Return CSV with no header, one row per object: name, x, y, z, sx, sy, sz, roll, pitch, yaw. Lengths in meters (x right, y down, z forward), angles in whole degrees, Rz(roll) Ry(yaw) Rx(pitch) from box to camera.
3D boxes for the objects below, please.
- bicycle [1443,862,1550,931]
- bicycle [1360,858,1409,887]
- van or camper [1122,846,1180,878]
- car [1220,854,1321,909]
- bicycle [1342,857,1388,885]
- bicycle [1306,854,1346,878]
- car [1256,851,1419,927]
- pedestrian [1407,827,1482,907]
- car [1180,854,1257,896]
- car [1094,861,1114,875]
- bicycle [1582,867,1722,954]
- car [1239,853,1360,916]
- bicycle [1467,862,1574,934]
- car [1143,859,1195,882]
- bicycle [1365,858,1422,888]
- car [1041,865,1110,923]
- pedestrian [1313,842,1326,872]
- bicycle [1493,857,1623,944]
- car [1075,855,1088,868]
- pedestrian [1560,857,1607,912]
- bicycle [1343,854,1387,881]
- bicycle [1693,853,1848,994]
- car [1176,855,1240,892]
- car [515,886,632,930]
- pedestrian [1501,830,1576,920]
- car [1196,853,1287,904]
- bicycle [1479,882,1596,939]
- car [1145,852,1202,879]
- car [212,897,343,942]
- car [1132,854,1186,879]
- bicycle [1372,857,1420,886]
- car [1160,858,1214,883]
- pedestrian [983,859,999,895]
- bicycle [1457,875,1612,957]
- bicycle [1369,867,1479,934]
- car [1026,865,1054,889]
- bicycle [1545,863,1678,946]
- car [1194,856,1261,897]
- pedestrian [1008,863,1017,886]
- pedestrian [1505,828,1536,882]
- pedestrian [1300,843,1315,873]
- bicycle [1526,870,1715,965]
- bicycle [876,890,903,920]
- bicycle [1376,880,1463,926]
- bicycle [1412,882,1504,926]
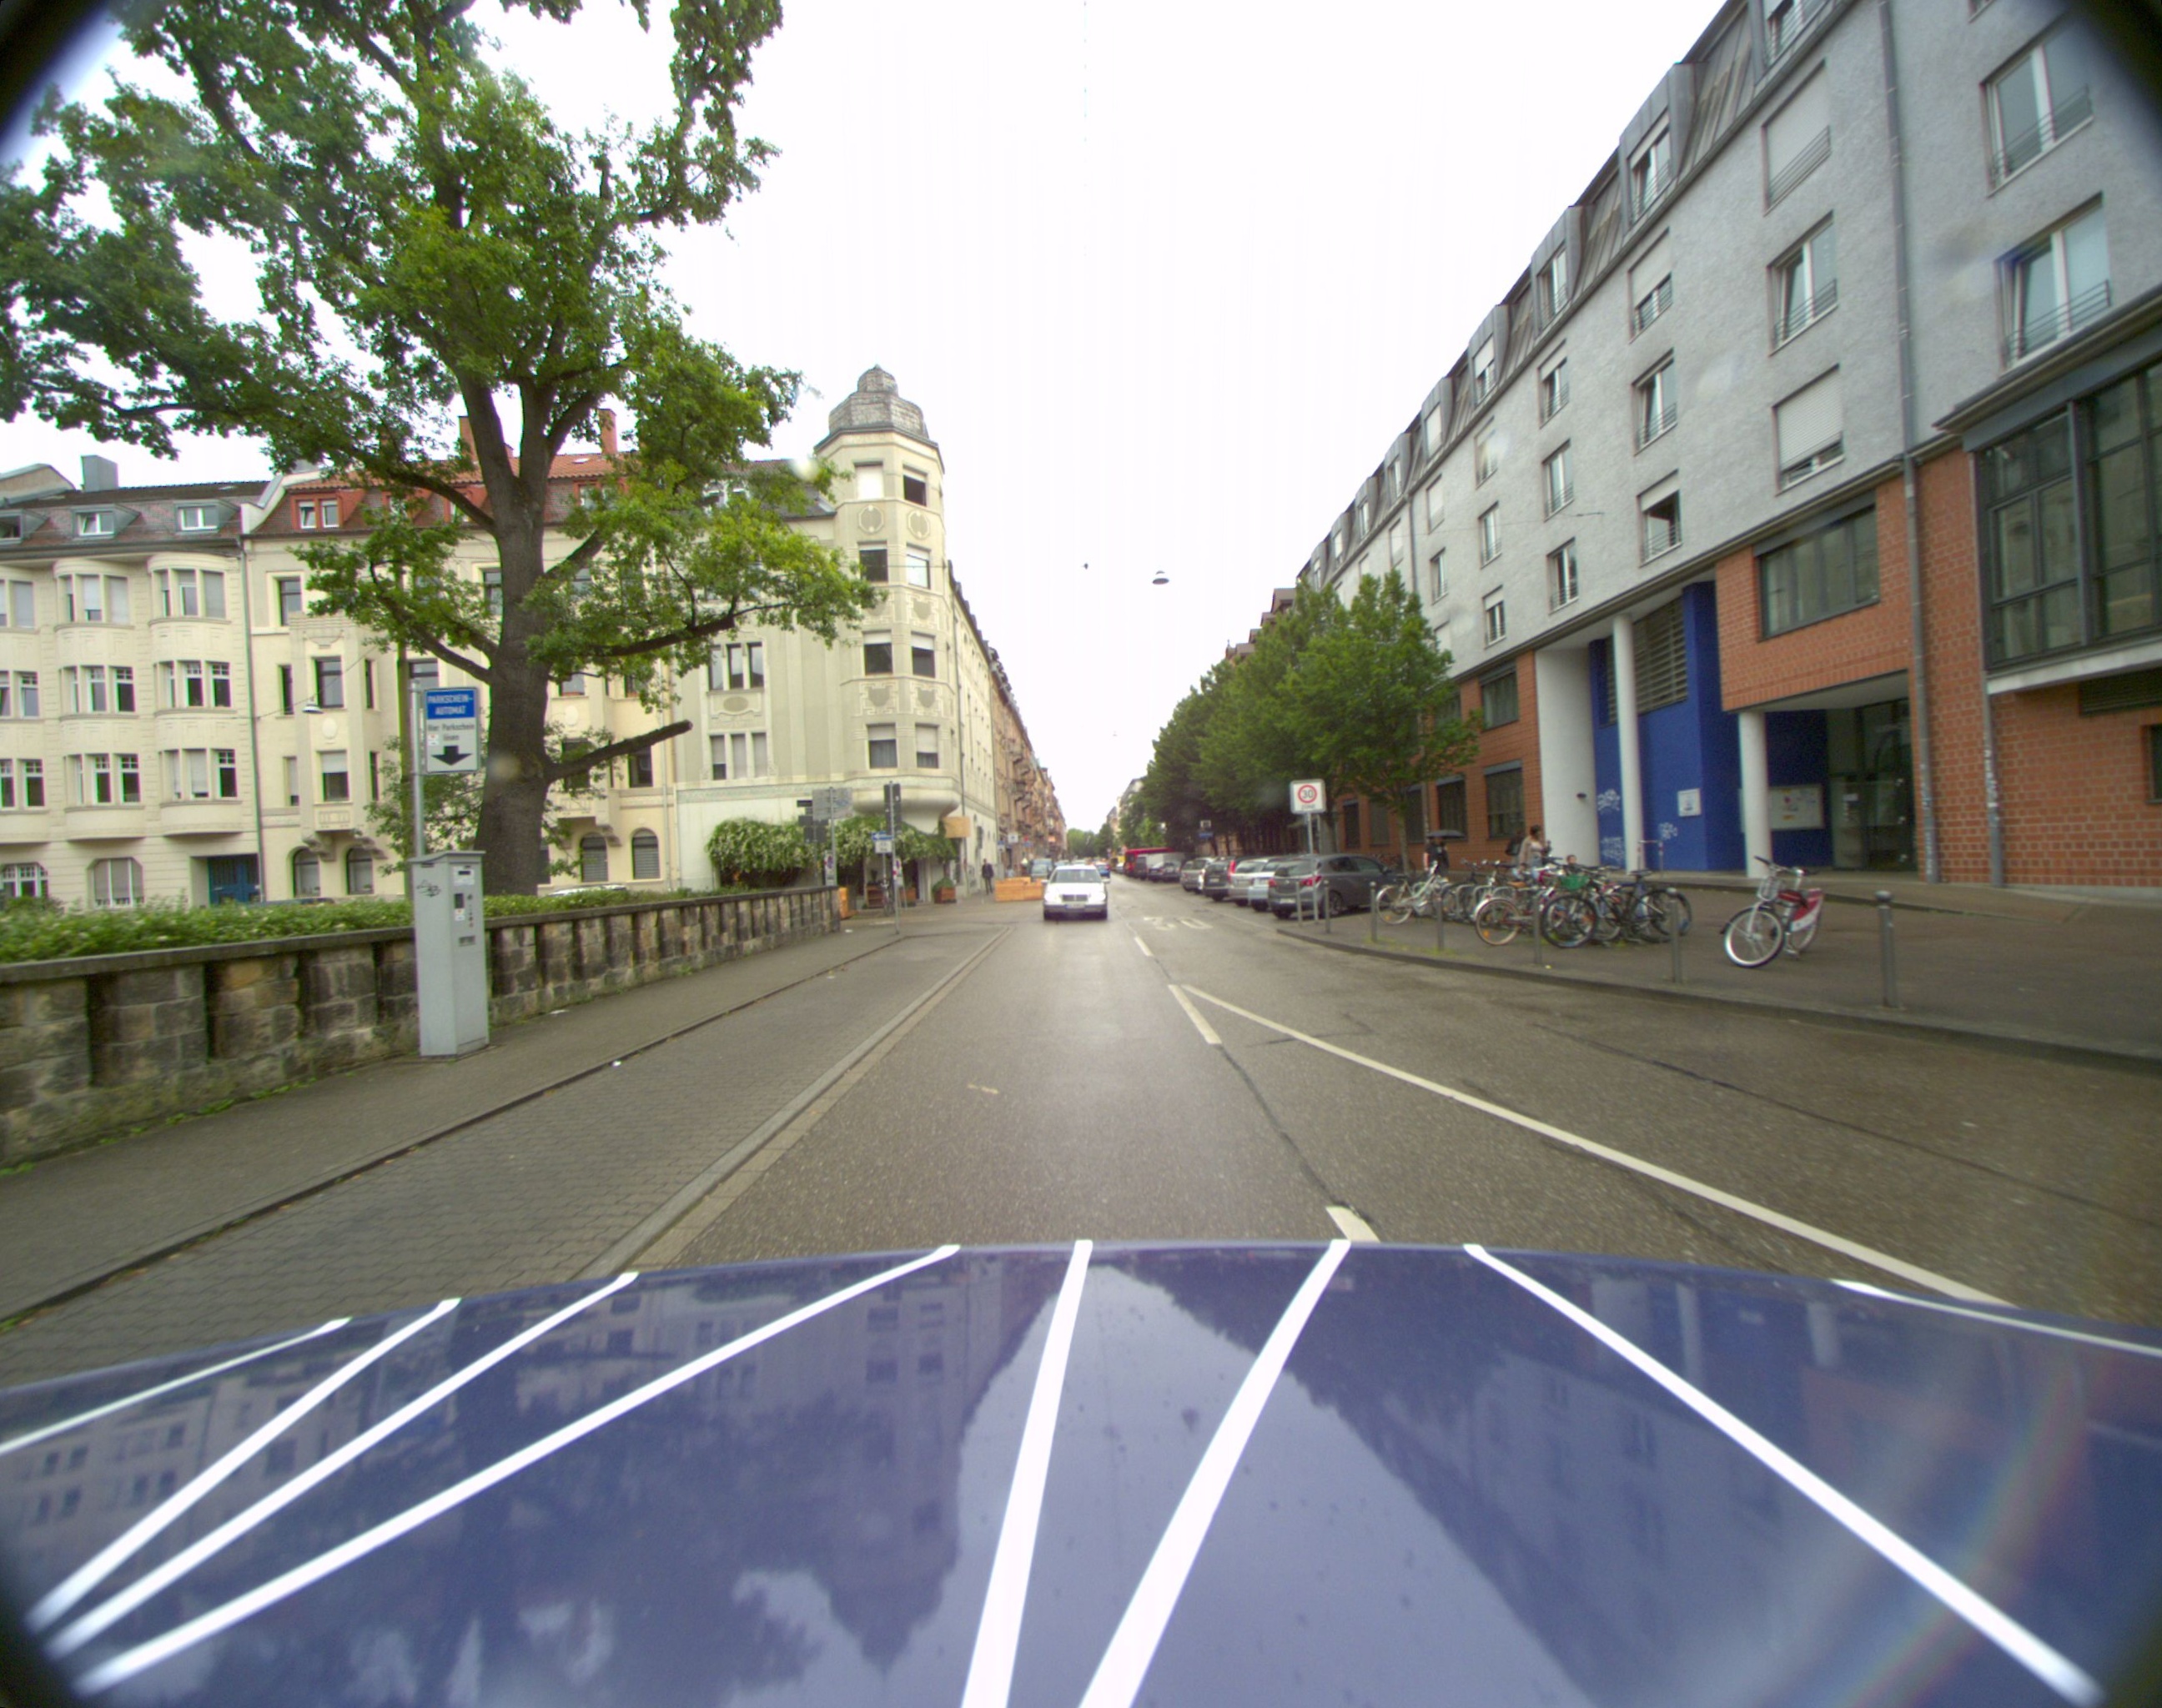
bicycle,7.504,0.754,13.752,1.610,1.099,0.520,-4,1,-4
bicycle,10.923,0.662,27.358,1.590,0.978,0.445,-2,0,-7
van or camper,6.062,0.720,65.911,4.603,2.597,2.000,-2,0,-26
car,5.993,0.854,23.927,3.084,1.493,1.449,-3,0,-39
bicycle,10.948,0.649,29.274,1.590,0.978,0.445,-2,0,-7
bicycle,10.756,0.525,33.339,1.590,0.978,0.465,-2,0,-7
car,6.223,0.789,18.366,3.628,1.494,1.736,-3,1,-30
pedestrian,9.324,0.335,19.542,1.228,1.870,1.055,-7,0,0
car,5.901,0.889,32.556,2.985,1.546,1.370,-3,0,-28
car,2.123,1.296,70.934,1.651,1.301,3.312,-2,0,-2
bicycle,7.657,0.749,10.216,1.462,1.058,0.418,-4,1,5
car,6.138,0.827,21.315,3.083,1.493,1.449,-3,0,-30
bicycle,7.578,0.744,13.099,1.611,1.099,0.520,-4,1,-12
car,6.074,1.119,52.268,1.685,1.481,3.799,-2,0,41
bicycle,11.043,0.660,26.883,1.850,0.978,0.445,-2,0,-7
car,-0.118,1.098,22.145,1.764,1.420,4.000,-3,0,1
pedestrian,12.973,0.145,41.316,0.514,1.601,0.425,-2,0,2
bicycle,7.436,0.709,11.853,1.815,1.187,0.520,-4,1,-12
car,0.104,1.217,125.047,1.998,2.002,4.001,-2,0,2
pedestrian,10.268,0.613,15.535,0.485,1.044,0.528,-7,0,0
bicycle,11.167,0.525,29.891,1.590,0.978,0.445,-2,0,-7
bicycle,7.466,0.682,8.199,1.922,1.209,0.768,-6,3,-34
car,5.921,0.910,35.314,2.685,1.546,1.148,-3,0,-28
car,-18.302,1.933,27.485,3.270,1.401,1.448,-2,0,4
pedestrian,9.280,0.424,15.439,0.827,1.697,0.859,-7,0,2
car,5.681,0.851,26.818,3.084,1.543,1.449,-3,0,-39
bicycle,7.475,0.906,12.444,1.773,0.757,0.456,-4,0,-12
car,6.928,0.836,56.578,4.338,1.884,1.685,-2,0,-40
car,-28.860,2.331,27.353,3.270,1.401,1.448,-2,0,4
car,6.203,0.991,60.014,4.338,1.821,1.572,-2,0,-40
bicycle,11.556,0.638,27.892,1.590,0.978,0.445,-2,0,-7
car,6.968,1.044,49.737,1.685,1.481,3.799,-2,0,41
pedestrian,-4.712,1.207,39.792,0.646,1.862,0.693,-2,0,1
bicycle,6.288,0.848,10.571,1.800,0.987,0.520,-4,1,-1
bicycle,6.403,0.854,14.218,1.812,1.099,0.472,-4,1,-4
car,-2.441,1.343,45.857,1.447,1.348,3.204,-2,0,1
bicycle,7.637,0.732,10.989,1.461,1.096,0.462,-4,1,15
car,5.809,0.882,30.049,2.506,1.442,1.191,-3,0,-39
pedestrian,-4.361,1.283,48.487,0.482,1.452,0.392,-2,0,0
pedestrian,12.693,0.023,21.955,0.515,1.521,0.548,-2,0,-2
pedestrian,12.326,0.219,41.366,0.605,1.601,0.372,-2,0,0
bicycle,6.853,0.799,9.724,1.857,1.066,0.610,-4,0,6
bicycle,-6.852,1.807,27.222,0.390,0.888,2.023,-2,2,1
bicycle,6.813,0.983,15.326,1.473,0.800,0.498,-4,0,4
bicycle,7.274,0.968,14.691,1.473,0.717,0.498,-4,0,4
